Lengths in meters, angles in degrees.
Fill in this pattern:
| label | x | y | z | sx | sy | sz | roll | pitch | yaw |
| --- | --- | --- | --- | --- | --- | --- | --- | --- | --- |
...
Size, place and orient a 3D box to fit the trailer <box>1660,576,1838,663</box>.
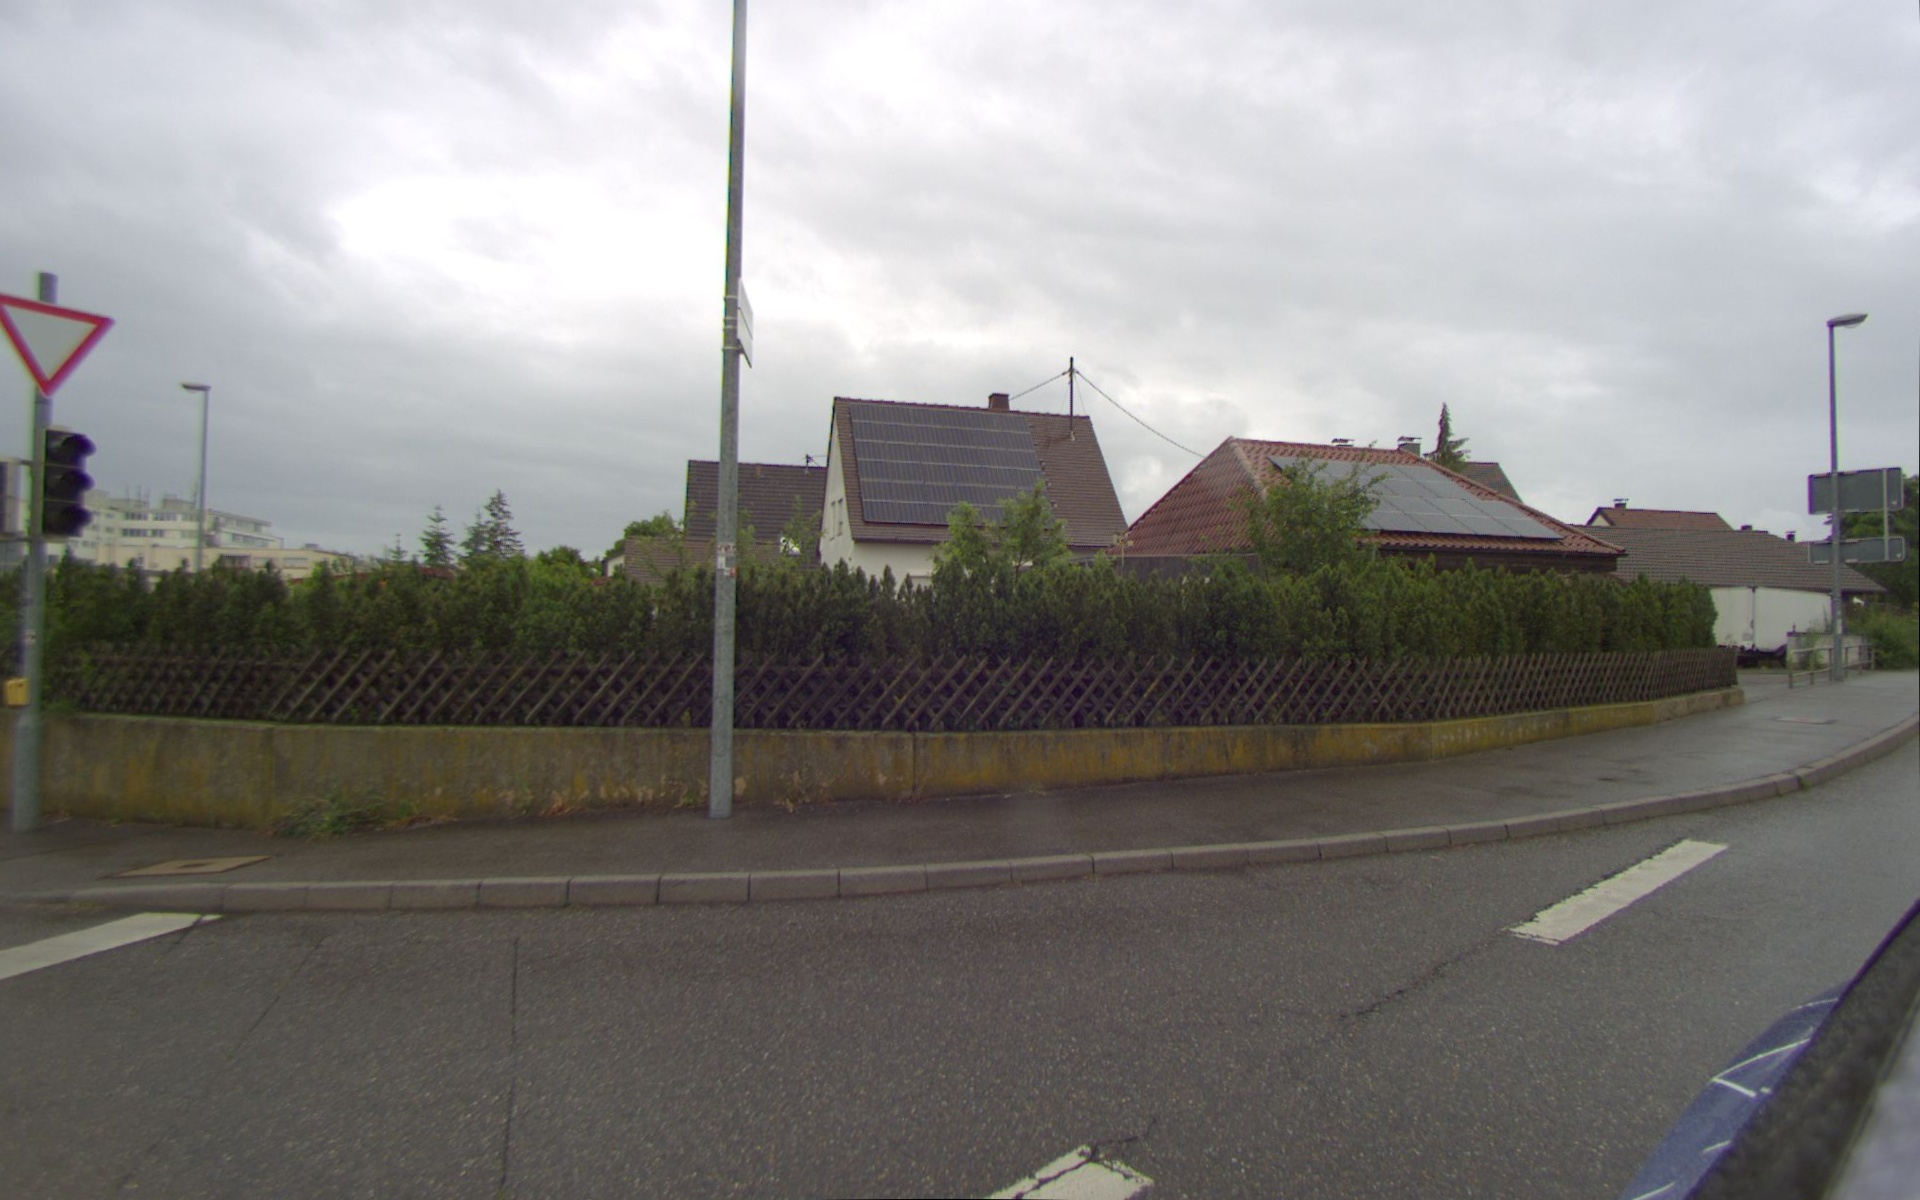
| label | x | y | z | sx | sy | sz | roll | pitch | yaw |
| --- | --- | --- | --- | --- | --- | --- | --- | --- | --- |
| trailer | 23.919 | 0.600 | 30.714 | 4.605 | 2.550 | 1.652 | 0 | -2 | -13 |
